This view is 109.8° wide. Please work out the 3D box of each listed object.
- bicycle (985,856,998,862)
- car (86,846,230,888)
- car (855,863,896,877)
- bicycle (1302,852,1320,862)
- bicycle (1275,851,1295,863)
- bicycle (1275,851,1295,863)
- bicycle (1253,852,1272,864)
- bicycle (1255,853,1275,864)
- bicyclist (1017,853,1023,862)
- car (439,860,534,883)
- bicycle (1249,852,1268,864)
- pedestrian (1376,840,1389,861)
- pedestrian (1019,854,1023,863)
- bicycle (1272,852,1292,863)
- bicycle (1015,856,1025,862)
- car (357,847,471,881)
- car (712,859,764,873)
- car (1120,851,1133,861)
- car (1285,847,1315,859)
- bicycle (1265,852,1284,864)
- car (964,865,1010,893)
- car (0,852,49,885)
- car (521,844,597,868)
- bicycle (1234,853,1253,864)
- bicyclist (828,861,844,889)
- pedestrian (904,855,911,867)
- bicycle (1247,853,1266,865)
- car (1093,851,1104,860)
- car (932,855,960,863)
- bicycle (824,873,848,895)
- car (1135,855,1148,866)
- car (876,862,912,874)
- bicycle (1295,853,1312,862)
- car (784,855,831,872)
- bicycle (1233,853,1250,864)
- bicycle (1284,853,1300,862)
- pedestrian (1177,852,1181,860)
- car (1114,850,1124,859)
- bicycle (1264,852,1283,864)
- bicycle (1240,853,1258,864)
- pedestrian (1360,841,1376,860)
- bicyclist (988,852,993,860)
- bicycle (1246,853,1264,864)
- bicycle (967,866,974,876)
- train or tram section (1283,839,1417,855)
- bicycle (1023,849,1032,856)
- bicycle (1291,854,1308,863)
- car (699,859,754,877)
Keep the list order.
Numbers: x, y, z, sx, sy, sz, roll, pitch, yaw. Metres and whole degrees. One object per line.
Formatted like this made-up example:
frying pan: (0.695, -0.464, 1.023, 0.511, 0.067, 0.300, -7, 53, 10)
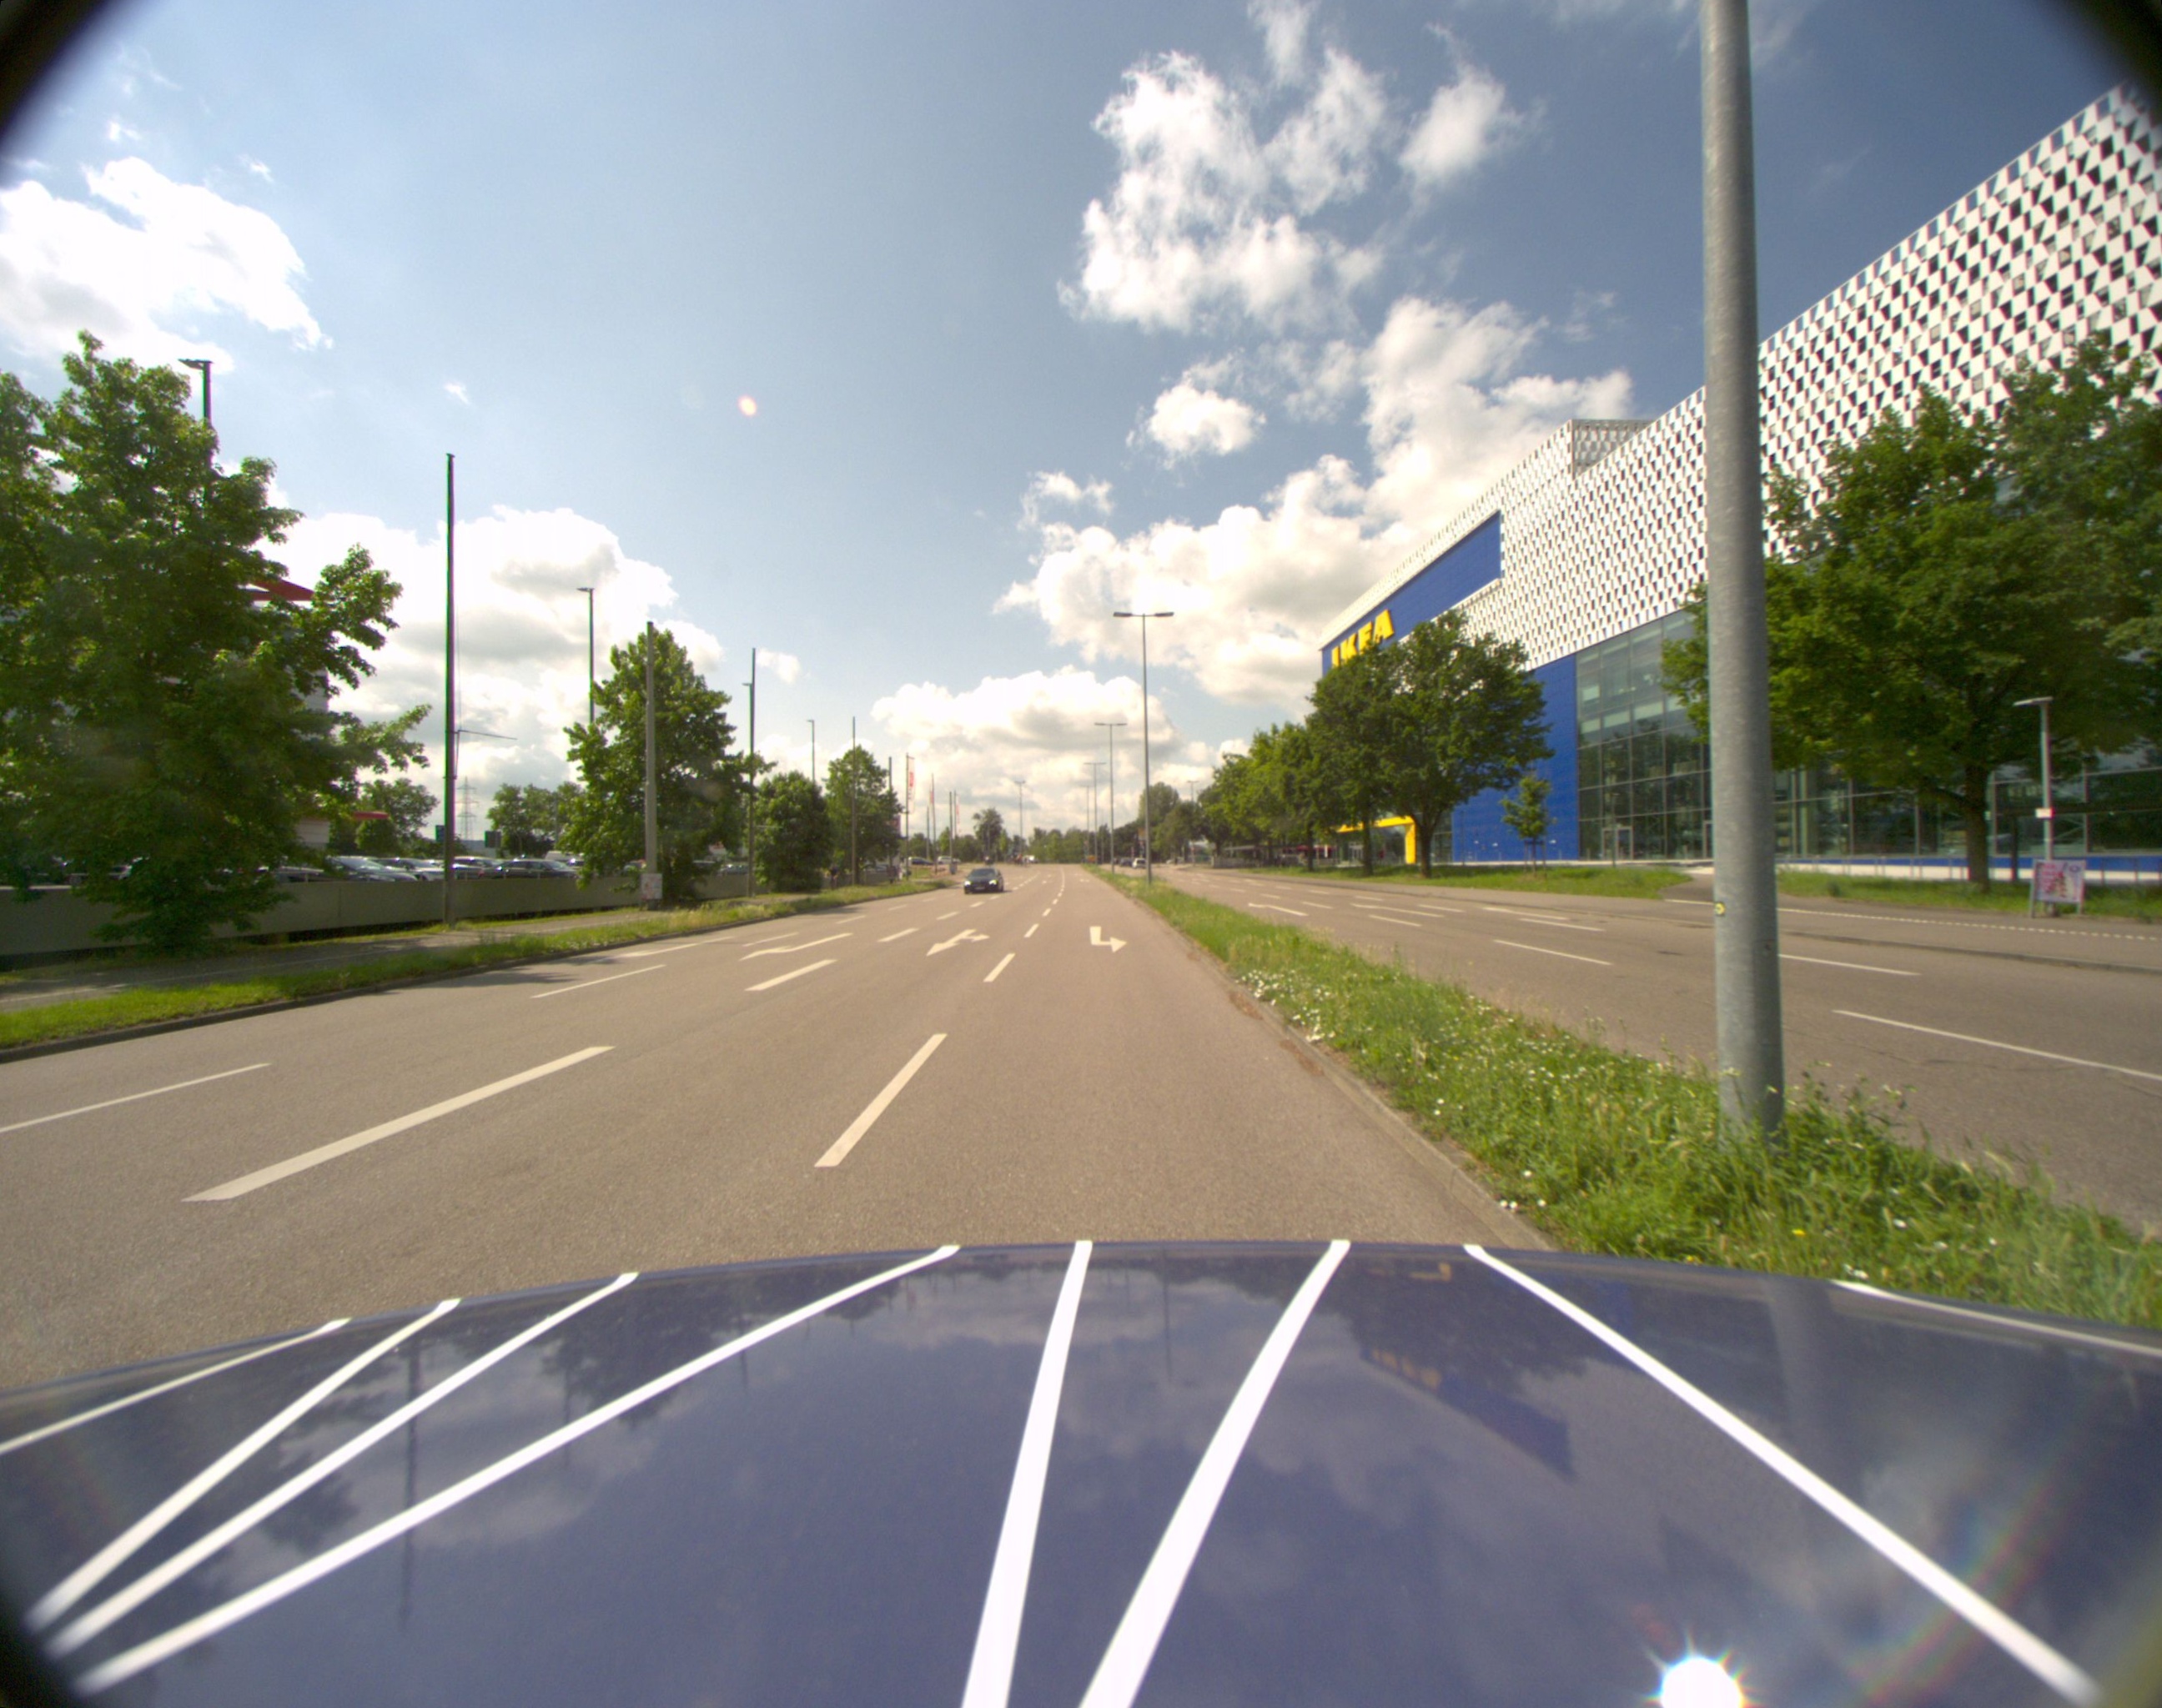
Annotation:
bicycle: (-14.872, 0.867, 125.939, 1.991, 0.955, 0.595, -1, -1, -29)
car: (-41.495, 0.582, 34.243, 3.997, 1.710, 2.000, -2, -1, 0)
car: (-24.795, 1.956, 91.810, 4.369, 1.468, 1.857, -2, 0, 1)
bicycle: (28.218, 0.382, 93.196, 1.940, 1.202, 0.529, -1, 1, -5)
bicycle: (21.956, 0.340, 81.730, 1.930, 1.177, 0.629, -2, 0, -1)
bicycle: (22.186, 0.361, 82.611, 1.930, 1.265, 0.629, -2, 0, -1)
bicycle: (19.968, 0.461, 83.701, 1.930, 1.265, 0.629, -2, 0, -1)
bicycle: (20.002, 0.493, 82.549, 1.930, 1.176, 0.629, -2, 0, -1)
bicyclist: (-10.344, 0.550, 128.524, 0.649, 1.466, 0.744, -2, 0, 34)
car: (-34.456, 1.025, 44.108, 4.194, 1.317, 1.688, 0, 0, -1)
bicycle: (19.830, 0.463, 84.964, 1.930, 1.265, 0.629, -2, 0, -1)
pedestrian: (26.665, -0.274, 67.142, 0.755, 1.812, 0.887, -2, 1, -1)
pedestrian: (-9.994, 0.686, 126.327, 0.585, 1.515, 0.469, -2, 1, 8)
bicycle: (22.129, 0.348, 83.707, 1.930, 1.172, 0.629, -2, 0, -1)
bicycle: (-10.337, 0.865, 128.538, 0.664, 0.955, 1.700, -2, -1, 34)
car: (-34.567, 0.500, 39.460, 3.998, 1.562, 1.999, -2, 1, -3)
car: (-34.420, 1.233, 76.231, 4.369, 1.354, 1.847, 0, 0, 1)
car: (7.033, 0.316, 117.409, 1.668, 1.413, 4.518, 1, 0, -2)
car: (40.331, -0.159, 139.854, 4.821, 2.001, 1.999, -2, -1, -4)
bicycle: (22.035, 0.459, 86.487, 1.930, 1.265, 0.629, -2, 0, -1)
car: (-5.113, 1.339, 41.804, 1.797, 1.311, 4.163, -2, 0, 2)
car: (-49.002, 0.696, 33.736, 3.997, 1.411, 1.629, -2, -1, -1)
car: (-69.452, 0.263, 101.163, 7.898, 3.136, 3.122, -1, 1, 2)
bicycle: (19.386, 0.572, 90.876, 2.094, 1.265, 0.629, -2, 0, -1)
bicyclist: (-12.577, 1.092, 39.019, 0.617, 1.404, 0.715, -1, 0, 0)
pedestrian: (-27.102, 1.076, 118.543, 0.865, 1.753, 0.863, 2, -3, -5)
bicycle: (19.960, 0.548, 86.358, 1.930, 1.265, 0.629, -2, 0, -1)
car: (3.077, 0.224, 133.012, 1.608, 1.485, 4.131, 1, 1, -2)
car: (-23.473, 0.855, 132.283, 4.495, 1.405, 2.013, 0, 0, -4)
bicycle: (-12.569, 1.530, 39.002, 0.625, 1.061, 1.968, 0, 0, -1)
car: (8.355, 0.874, 105.107, 1.647, 1.420, 3.670, 0, 0, 0)
car: (-25.009, 1.844, 101.632, 4.370, 1.431, 1.796, -1, 0, -1)
bicycle: (27.704, 0.461, 94.688, 1.940, 1.064, 0.529, -1, 1, -5)
car: (-26.987, 0.901, 75.063, 4.026, 1.578, 1.695, -1, -1, -2)
bicycle: (19.722, 0.547, 93.442, 1.930, 1.265, 0.629, -2, 0, -1)
bicycle: (27.365, 0.447, 98.607, 1.940, 1.064, 0.529, -1, 1, -5)
pedestrian: (16.826, 0.344, 130.274, 0.439, 1.481, 0.619, -1, 1, -18)
car: (6.558, 0.076, 132.212, 1.415, 1.383, 4.095, 1, 0, -1)
bicycle: (22.152, 0.434, 87.498, 1.930, 1.265, 0.629, -2, 0, -1)
bicycle: (19.888, 0.521, 89.802, 1.930, 1.265, 0.629, -2, 0, -1)
pedestrian: (25.270, -0.295, 66.915, 0.952, 1.692, 0.887, -2, 1, -1)
bicyclist: (-14.952, 0.395, 125.901, 0.688, 1.317, 0.591, -1, 0, -28)
bicycle: (20.000, 0.533, 87.431, 1.930, 1.265, 0.629, -2, 0, -1)
bicycle: (-11.643, 1.807, 80.404, 0.518, 0.947, 1.543, -2, 1, -1)
train or tram section: (52.878, -1.280, 149.802, 25.116, 3.014, 4.529, 0, 0, -3)
bicycle: (-9.140, -0.206, 130.628, 1.508, 1.158, 0.619, -1, -1, -44)
bicycle: (27.590, 0.532, 95.814, 1.935, 1.083, 0.520, -2, 0, -5)
car: (-30.983, 1.227, 66.489, 4.065, 1.522, 1.741, 0, 0, -5)
